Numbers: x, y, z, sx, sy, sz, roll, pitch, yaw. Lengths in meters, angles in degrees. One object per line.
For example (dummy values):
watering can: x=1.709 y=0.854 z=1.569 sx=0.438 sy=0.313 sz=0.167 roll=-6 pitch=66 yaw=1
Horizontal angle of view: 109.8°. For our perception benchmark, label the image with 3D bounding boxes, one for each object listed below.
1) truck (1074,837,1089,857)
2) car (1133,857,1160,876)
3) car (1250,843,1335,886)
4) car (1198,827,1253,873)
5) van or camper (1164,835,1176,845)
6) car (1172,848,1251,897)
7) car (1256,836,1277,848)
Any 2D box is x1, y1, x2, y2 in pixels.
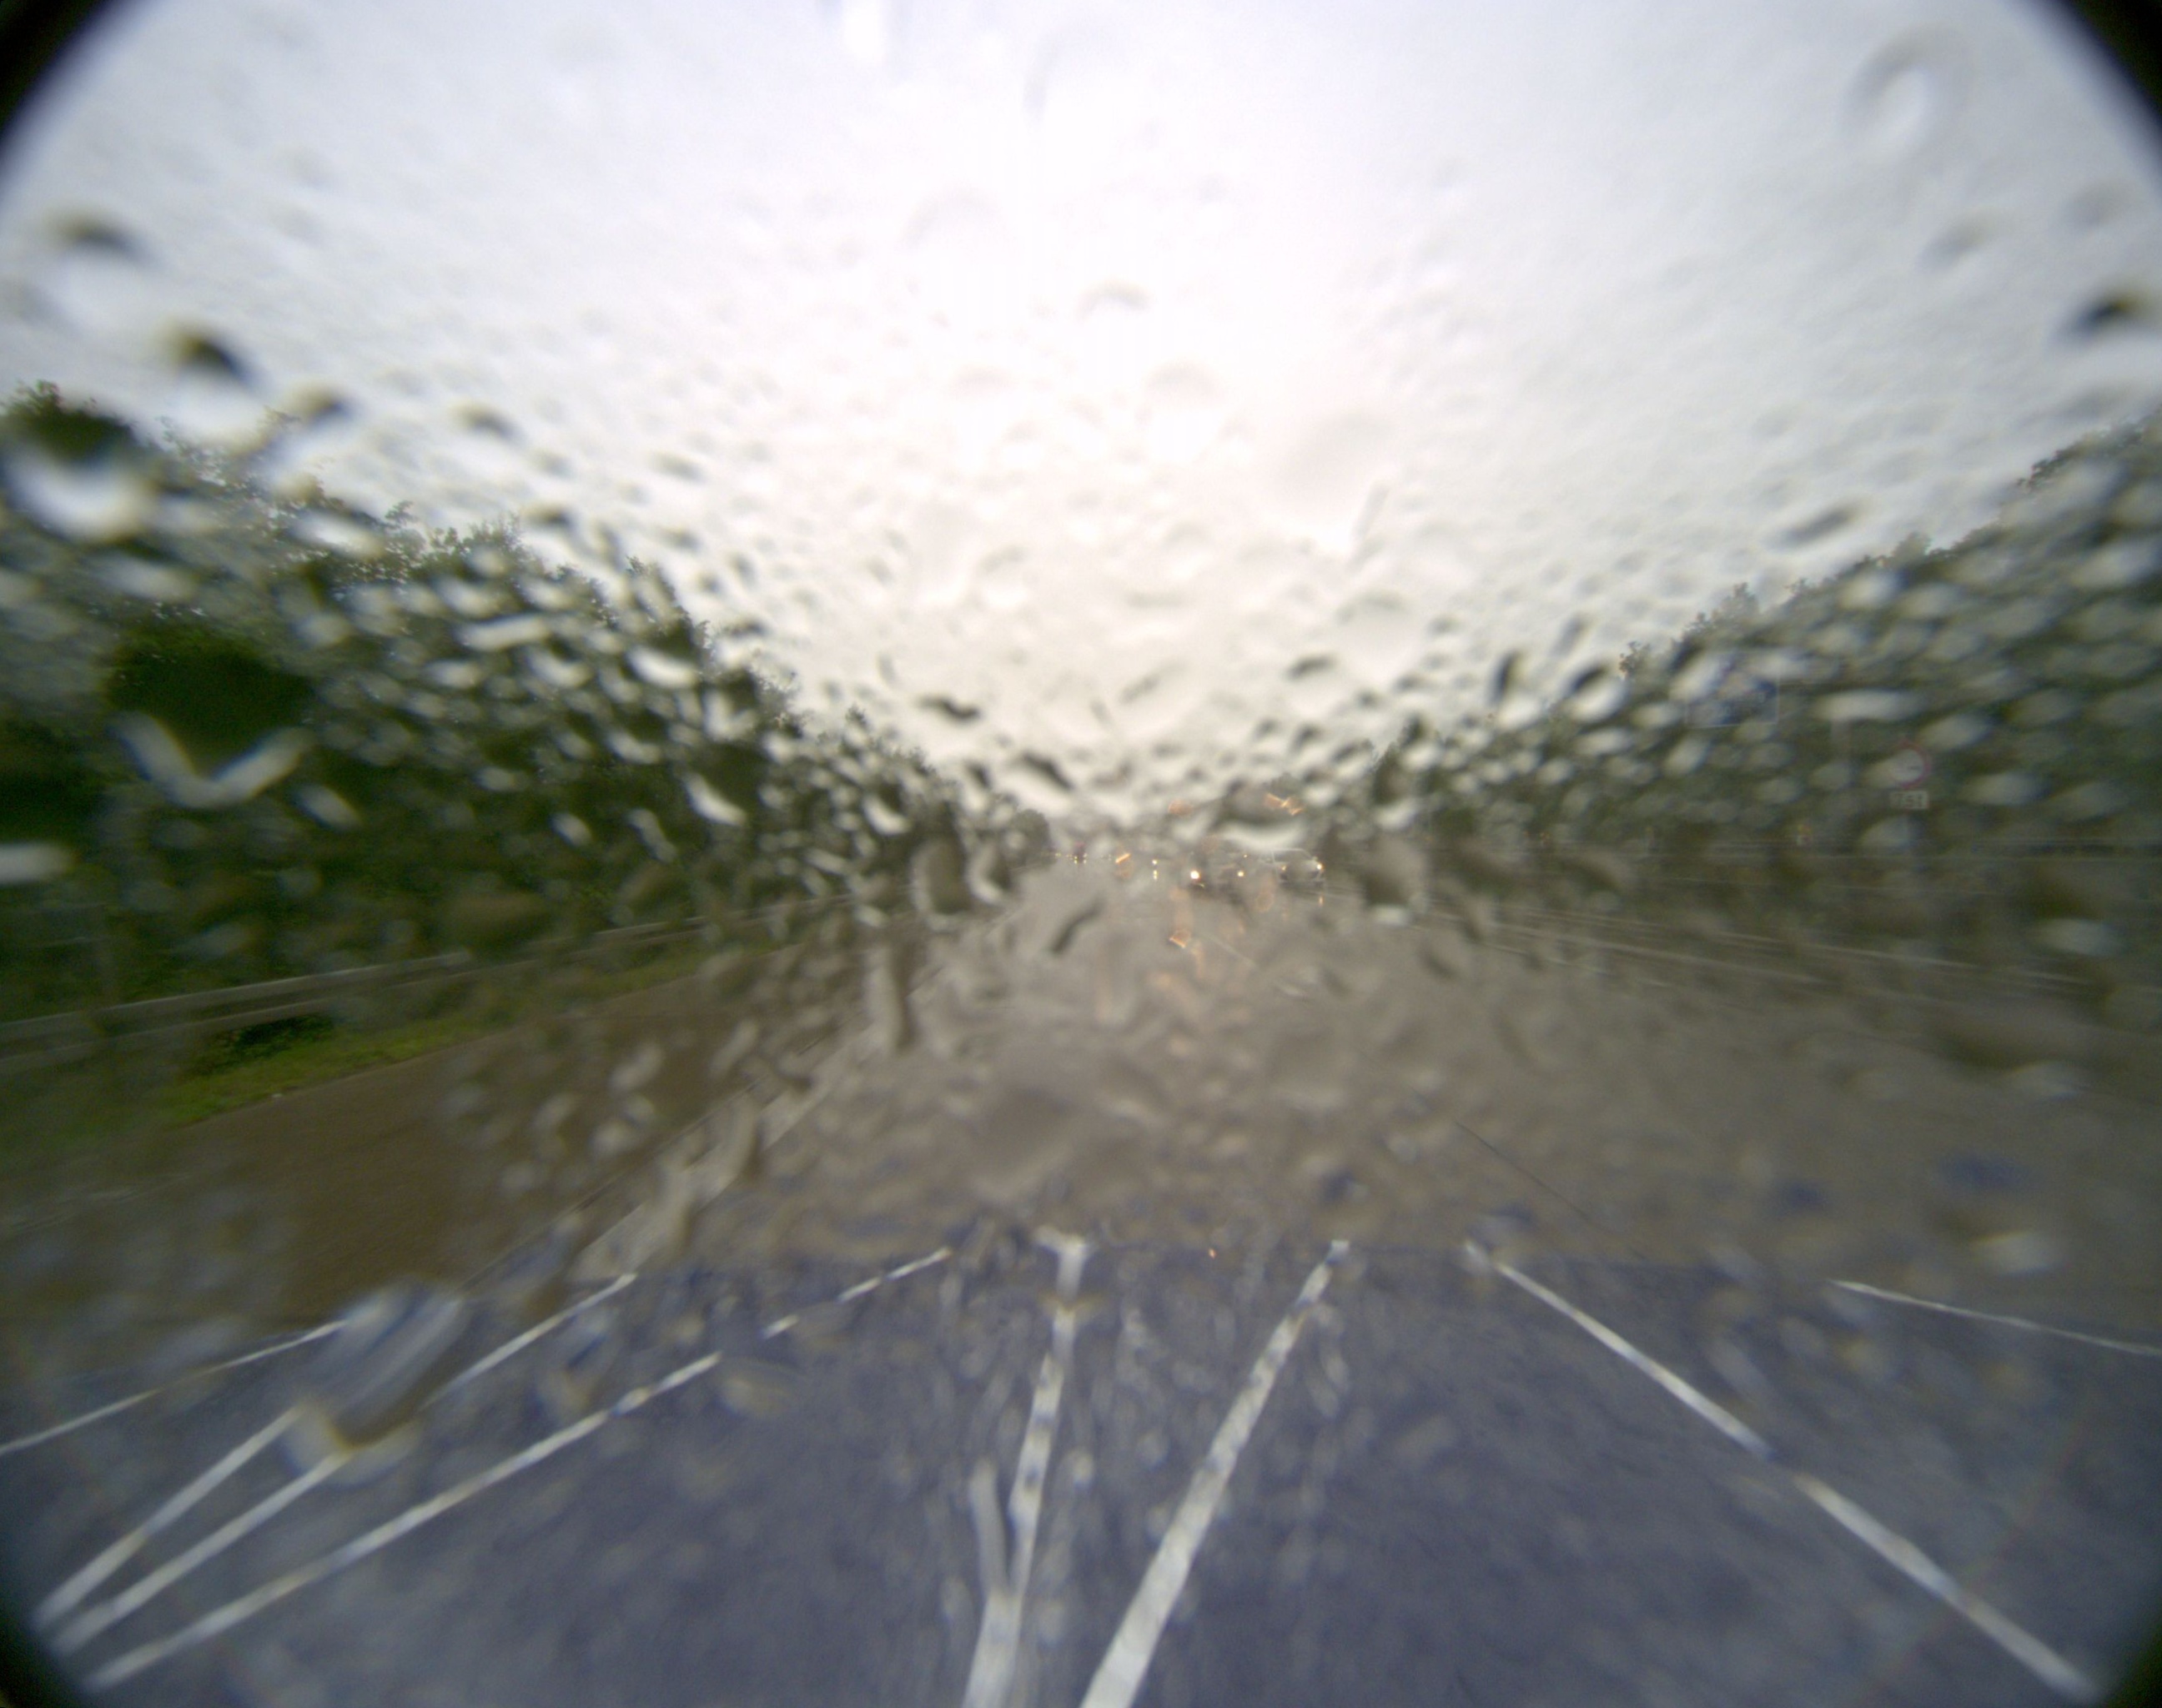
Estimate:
truck: x=0.111 y=-1.492 z=174.697 sx=3.058 sy=3.994 sz=10.044 roll=-2 pitch=-2 yaw=1
car: x=5.538 y=1.046 z=64.831 sx=1.934 sy=1.426 sz=4.517 roll=-2 pitch=1 yaw=1
car: x=7.963 y=0.353 z=29.043 sx=1.934 sy=1.426 sz=4.517 roll=-2 pitch=1 yaw=0
car: x=8.913 y=-0.291 z=47.443 sx=2.046 sy=2.616 sz=6.402 roll=-2 pitch=1 yaw=0
van or camper: x=25.560 y=-4.031 z=218.000 sx=2.562 sy=2.702 sz=7.498 roll=-4 pitch=1 yaw=1
car: x=4.346 y=0.557 z=26.032 sx=1.934 sy=1.426 sz=4.517 roll=-2 pitch=1 yaw=1
car: x=25.091 y=-1.620 z=102.971 sx=1.671 sy=1.426 sz=4.517 roll=-3 pitch=1 yaw=1
